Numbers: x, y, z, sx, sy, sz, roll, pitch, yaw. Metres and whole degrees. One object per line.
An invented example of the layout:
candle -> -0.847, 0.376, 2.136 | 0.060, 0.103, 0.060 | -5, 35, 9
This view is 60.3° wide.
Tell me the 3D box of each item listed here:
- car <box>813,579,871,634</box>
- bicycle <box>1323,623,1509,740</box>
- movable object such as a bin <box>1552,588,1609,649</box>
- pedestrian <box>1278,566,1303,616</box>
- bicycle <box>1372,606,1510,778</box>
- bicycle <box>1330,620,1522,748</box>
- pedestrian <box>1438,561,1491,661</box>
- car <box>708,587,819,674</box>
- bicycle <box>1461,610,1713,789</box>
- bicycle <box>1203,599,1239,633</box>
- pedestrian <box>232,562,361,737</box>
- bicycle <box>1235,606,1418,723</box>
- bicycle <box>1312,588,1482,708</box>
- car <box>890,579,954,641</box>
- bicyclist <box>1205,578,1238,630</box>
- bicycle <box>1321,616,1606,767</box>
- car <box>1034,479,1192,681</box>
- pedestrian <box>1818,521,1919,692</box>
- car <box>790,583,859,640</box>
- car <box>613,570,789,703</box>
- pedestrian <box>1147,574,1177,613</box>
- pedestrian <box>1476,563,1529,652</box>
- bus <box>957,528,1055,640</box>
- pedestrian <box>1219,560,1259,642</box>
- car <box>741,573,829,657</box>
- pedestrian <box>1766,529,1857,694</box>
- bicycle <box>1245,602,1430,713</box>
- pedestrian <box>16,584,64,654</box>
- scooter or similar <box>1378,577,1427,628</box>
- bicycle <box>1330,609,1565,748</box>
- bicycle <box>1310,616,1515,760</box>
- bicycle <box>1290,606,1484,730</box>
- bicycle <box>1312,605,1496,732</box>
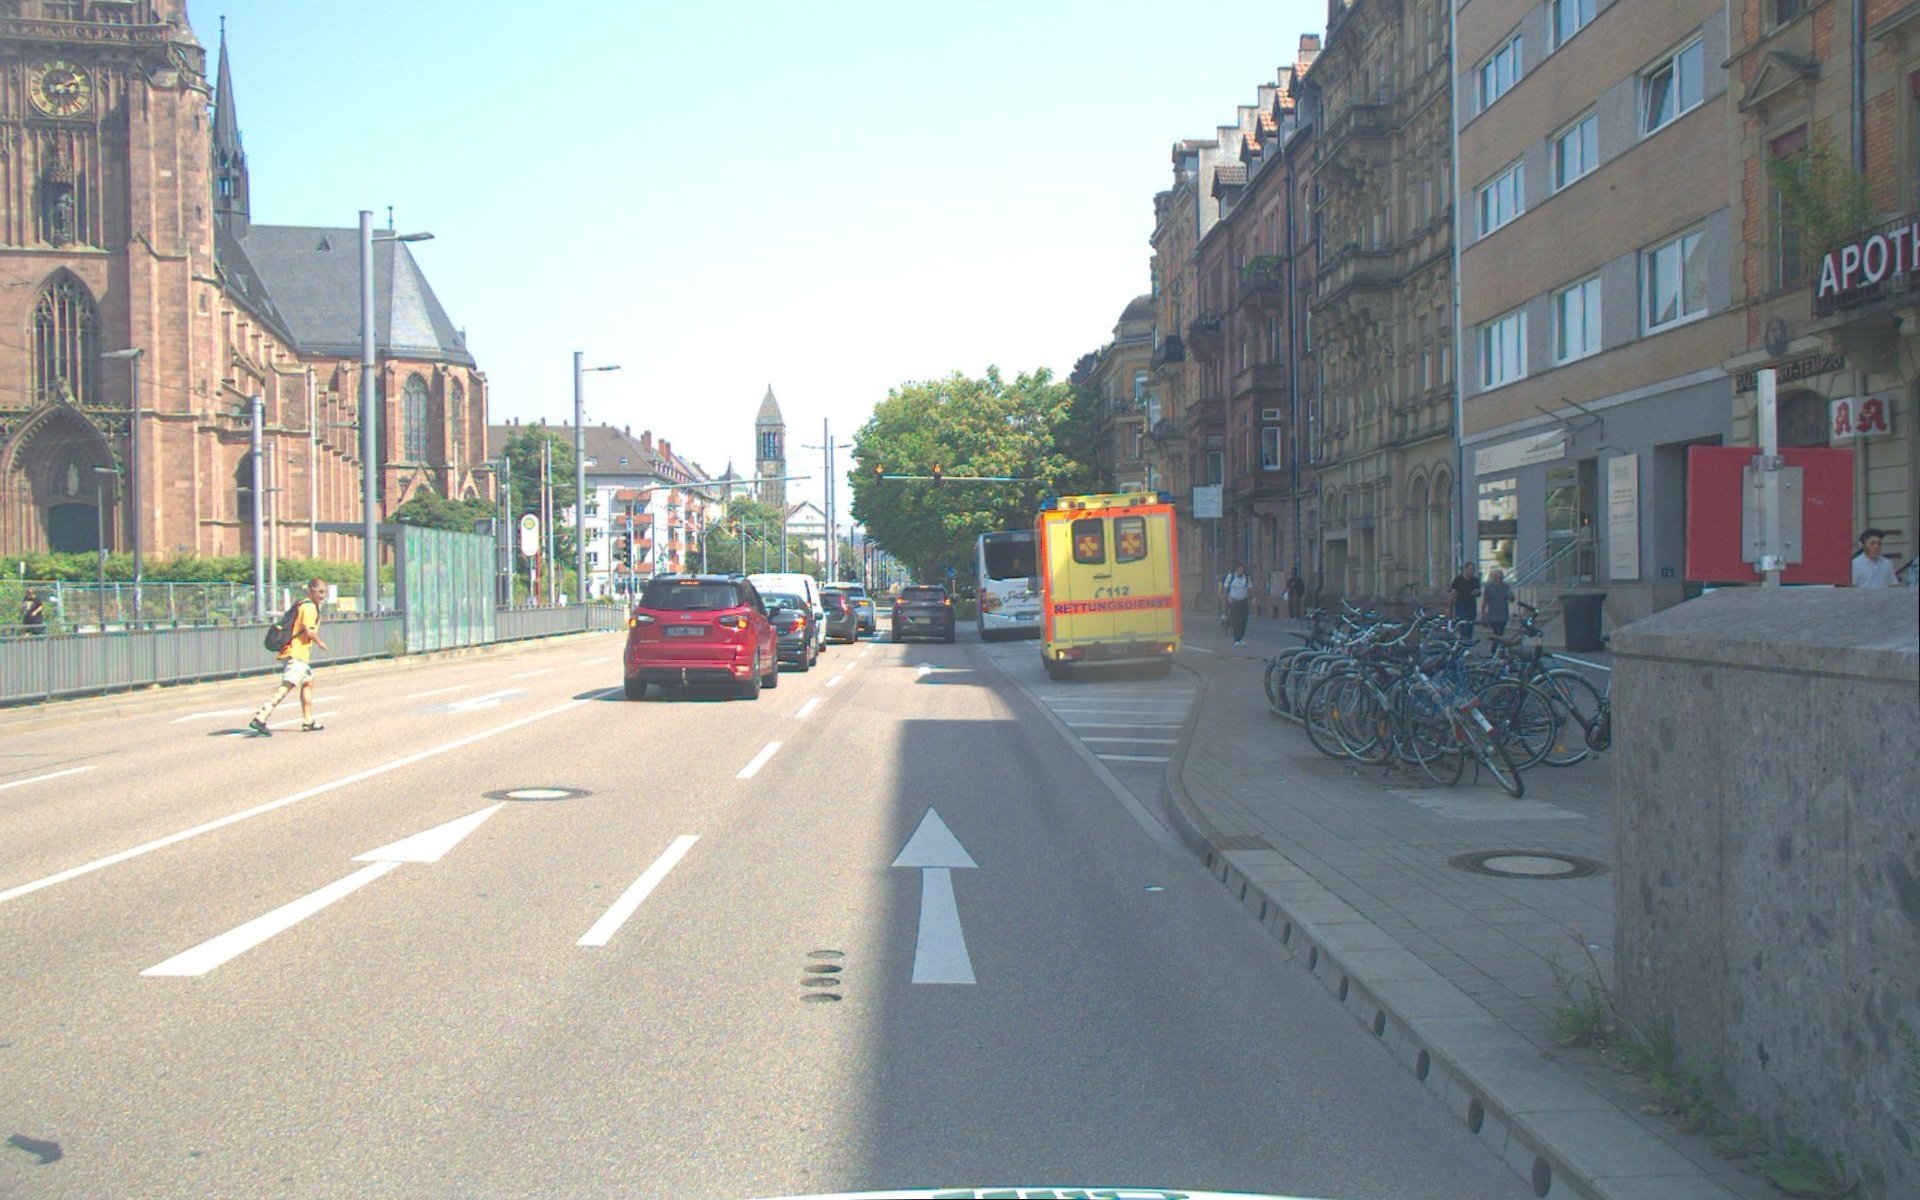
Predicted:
car -> -3.839, 0.217, 54.253 | 1.754, 1.728, 3.998 | -1, 0, -3
bicycle -> 3.921, 0.697, 14.260 | 1.506, 0.969, 0.365 | 0, 1, -2
movable object such as a bin -> 11.168, 0.324, 29.753 | 0.643, 1.066, 0.752 | -2, 1, -44
pedestrian -> 10.996, -0.305, 55.024 | 0.611, 1.621, 0.695 | -1, 0, -7
bicycle -> 3.301, 0.598, 11.454 | 0.466, 1.089, 1.505 | -1, 0, -1
bicycle -> 3.889, 0.695, 13.835 | 1.506, 1.034, 0.365 | 0, 1, -2
pedestrian -> 8.801, 0.190, 28.880 | 0.630, 1.714, 0.789 | -1, 0, -2
car -> -3.572, 0.515, 30.627 | 1.754, 1.456, 3.998 | -1, 1, -3
bicycle -> 4.427, 0.664, 11.727 | 1.535, 1.139, 0.688 | 1, 2, 41
bicycle -> 6.872, 0.409, 43.627 | 0.577, 0.869, 1.774 | -1, 1, -3
pedestrian -> -7.018, 0.501, 17.506 | 1.060, 1.782, 0.751 | -1, -1, -44
bicycle -> 3.533, 0.615, 16.024 | 1.624, 1.090, 0.644 | 0, 0, -1
bicycle -> 4.612, 0.497, 17.533 | 1.638, 1.237, 0.644 | 0, 0, 4
car -> -1.138, 0.296, 47.995 | 1.754, 1.707, 3.998 | -1, 0, -3
bicyclist -> 6.925, 0.110, 43.790 | 0.738, 1.345, 0.581 | -1, 0, -2
bicycle -> 3.806, 0.678, 12.527 | 2.080, 1.090, 0.381 | 0, 1, -6
car -> 2.422, -0.341, 27.605 | 2.251, 2.938, 5.601 | -2, 1, 2
pedestrian -> 10.176, 0.067, 18.498 | 0.587, 1.826, 0.879 | -3, 0, -1
car -> -3.760, 0.318, 46.446 | 1.754, 1.498, 3.998 | -1, 0, -3
car -> -3.475, 0.437, 22.872 | 1.726, 1.646, 4.083 | -1, 1, 0
pedestrian -> 9.645, -0.336, 78.976 | 1.224, 1.782, 1.526 | -1, 2, -1
pedestrian -> 9.469, 0.123, 28.882 | 0.630, 1.519, 0.789 | -1, 0, -2
bus -> 1.269, -0.486, 52.549 | 2.482, 3.084, 12.433 | -1, 0, -1
pedestrian -> 5.823, 0.014, 34.507 | 0.683, 1.696, 0.602 | -1, 0, 24
car -> -4.000, 0.349, 38.253 | 1.754, 1.811, 3.998 | -1, 0, -3
pedestrian -> 9.539, 0.123, 18.545 | 0.565, 1.780, 0.679 | -3, 0, -2
bicycle -> 3.813, 0.575, 16.797 | 1.739, 1.090, 0.644 | 0, 0, 3
pedestrian -> -23.856, 0.486, 42.904 | 0.812, 1.782, 0.720 | -1, 0, -1
scooter or similar -> 10.835, 0.055, 40.505 | 0.505, 1.217, 1.296 | -1, 0, -20
bicycle -> 3.934, 0.624, 13.388 | 1.798, 1.090, 0.365 | 0, 1, -2
bicycle -> 3.523, 0.681, 12.920 | 1.506, 1.090, 0.365 | 0, 1, -2
bicycle -> 3.923, 0.617, 15.280 | 1.624, 1.090, 0.644 | 0, 1, -2
bicycle -> 3.931, 0.596, 14.682 | 1.506, 1.090, 0.472 | 0, 1, -2
